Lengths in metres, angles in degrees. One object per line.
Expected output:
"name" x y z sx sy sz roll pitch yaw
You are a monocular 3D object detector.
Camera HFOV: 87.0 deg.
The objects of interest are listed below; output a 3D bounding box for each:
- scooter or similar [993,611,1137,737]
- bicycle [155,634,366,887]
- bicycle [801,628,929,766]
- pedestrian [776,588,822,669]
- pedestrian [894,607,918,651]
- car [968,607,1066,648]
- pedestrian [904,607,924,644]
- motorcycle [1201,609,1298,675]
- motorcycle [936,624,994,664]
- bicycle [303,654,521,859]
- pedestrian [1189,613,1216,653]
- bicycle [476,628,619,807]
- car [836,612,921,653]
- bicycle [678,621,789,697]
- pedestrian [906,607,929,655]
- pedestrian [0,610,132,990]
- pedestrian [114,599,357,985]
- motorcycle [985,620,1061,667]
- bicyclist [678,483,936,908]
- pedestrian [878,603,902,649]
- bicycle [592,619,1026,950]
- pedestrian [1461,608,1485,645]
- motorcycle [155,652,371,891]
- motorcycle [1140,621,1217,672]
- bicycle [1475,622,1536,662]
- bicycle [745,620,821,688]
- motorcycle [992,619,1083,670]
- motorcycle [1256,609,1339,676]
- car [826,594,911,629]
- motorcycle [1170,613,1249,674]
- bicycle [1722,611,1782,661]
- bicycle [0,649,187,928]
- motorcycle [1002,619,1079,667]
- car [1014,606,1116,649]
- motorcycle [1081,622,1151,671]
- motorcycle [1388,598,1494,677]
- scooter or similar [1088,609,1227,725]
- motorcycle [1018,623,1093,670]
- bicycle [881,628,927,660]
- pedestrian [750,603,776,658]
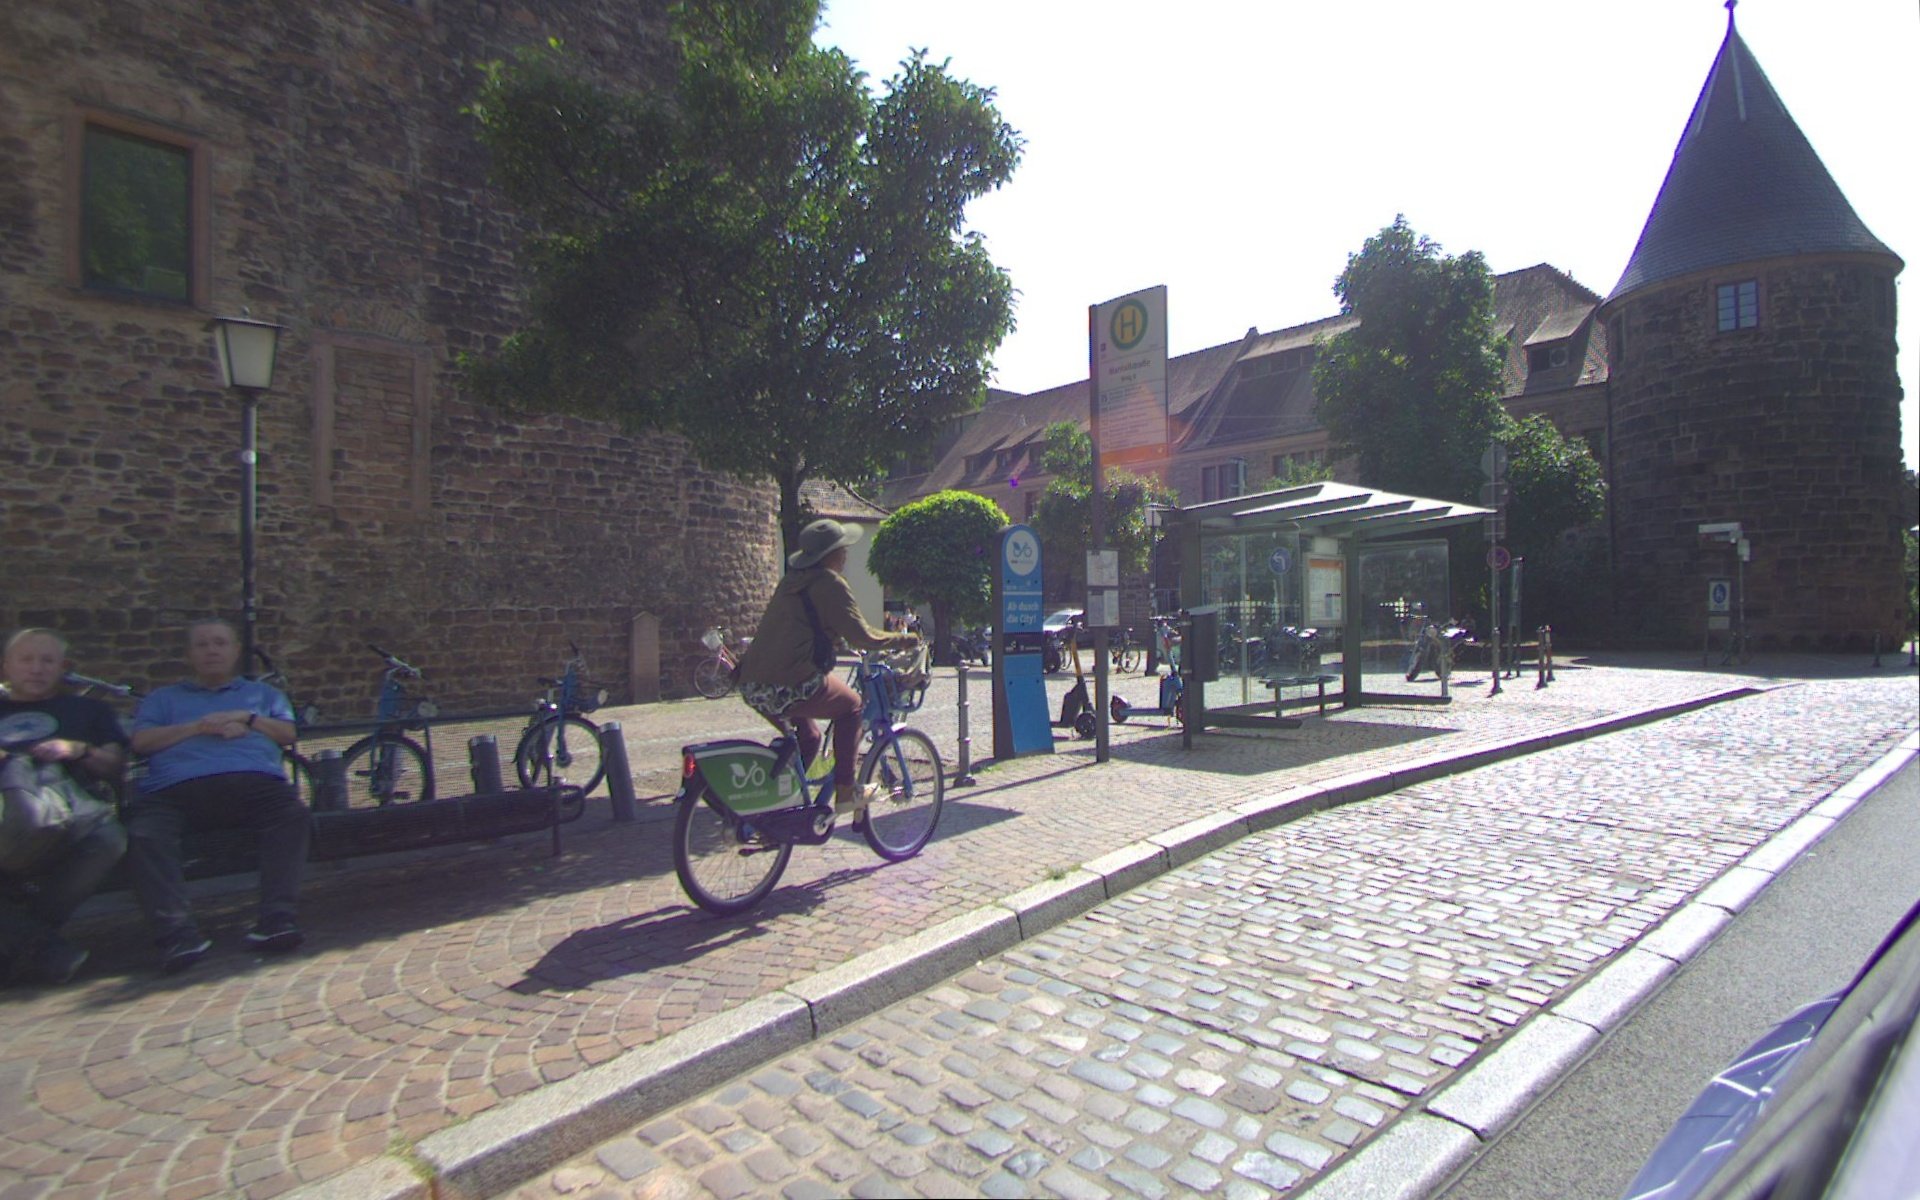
"scooter or similar" 1.086 0.761 10.721 0.640 1.231 1.432 0 -3 -41
"bicycle" -4.175 0.828 5.963 0.763 1.214 2.082 1 -3 -42
"bicycle" -0.862 0.864 9.639 0.540 1.146 1.726 -1 -1 19
"pedestrian" -3.777 0.658 23.744 0.747 1.869 0.797 0 -1 -41
"pedestrian" -2.075 1.102 38.958 0.661 1.650 0.661 1 -1 -36
"car" 2.706 1.239 47.847 4.346 1.636 1.998 -3 1 -38
"pedestrian" -2.212 1.220 48.635 0.698 1.763 0.661 1 -1 -36
"motorcycle" 5.954 0.826 20.744 2.230 1.252 0.740 -1 -1 -39
"motorcycle" 0.155 1.308 30.188 0.597 1.175 1.887 -2 -3 43
"bicycle" -3.563 0.894 6.481 0.787 1.080 2.026 1 -3 -42
"pedestrian" 8.791 1.189 36.726 0.660 1.439 0.663 -2 -1 -10
"bicycle" -3.217 0.845 7.817 0.711 1.213 1.552 0 -3 -34
"car" -3.520 1.344 43.017 1.766 1.549 4.143 -2 1 -35
"bicycle" -3.805 0.960 17.132 0.524 1.176 1.899 -2 -1 39
"pedestrian" -1.559 1.126 37.270 0.595 1.763 0.661 1 -1 -36
"pedestrian" -3.618 0.699 3.849 0.682 1.298 0.961 0 -2 -42
"pedestrian" -3.024 0.671 4.184 0.682 1.324 1.248 0 -1 -42
"motorcycle" 1.756 1.202 28.369 2.003 1.252 0.600 -1 -1 -15
"bicyclist" -0.672 0.372 4.506 0.708 1.649 0.873 -2 -1 42
"pedestrian" -2.657 0.982 38.549 0.661 1.763 0.661 1 -1 -36
"bicycle" -0.579 0.680 4.603 0.688 1.144 1.979 -2 -1 41
"pedestrian" 17.310 0.892 34.122 0.661 1.247 0.774 -2 -1 29
"motorcycle" -4.133 0.873 5.914 0.763 1.118 2.206 1 -3 -42
"motorcycle" 5.130 1.058 23.668 1.874 1.108 0.875 0 -1 -45
"bicycle" 14.595 1.102 27.068 1.679 1.015 0.660 0 -2 -31
"bicycle" -3.235 0.964 18.666 0.540 1.167 1.915 -1 -1 18
"motorcycle" 1.850 1.072 24.591 0.861 1.162 2.343 0 -2 -37
"motorcycle" 6.794 0.827 20.299 2.180 1.252 0.658 0 -1 -45
"car" -5.879 0.702 65.718 5.298 2.150 1.997 -1 0 -40
"motorcycle" 5.282 0.902 21.367 1.774 1.247 0.671 1 -3 -39
"bicycle" 19.844 0.888 25.354 1.812 1.167 0.844 0 -1 -42
"bicycle" -4.745 0.885 5.444 0.763 1.214 2.082 1 -3 -42
"motorcycle" 2.216 1.168 27.844 2.003 1.252 0.600 -1 -1 -16
"car" 4.723 1.182 45.435 4.346 1.636 1.998 -3 1 -38
"motorcycle" 3.683 1.078 23.778 1.897 1.095 0.630 2 -2 -45
"motorcycle" 8.564 0.656 17.968 2.486 1.310 0.883 1 -3 -45
"scooter or similar" 2.237 0.755 11.605 0.640 1.231 1.432 0 -3 -41
"motorcycle" 2.544 1.213 26.798 1.983 1.159 0.742 -1 -3 -38
"bicycle" -1.847 1.438 33.426 0.421 1.027 1.687 -2 -3 43
"pedestrian" -6.123 0.941 31.470 0.573 1.688 0.532 0 -1 -41
